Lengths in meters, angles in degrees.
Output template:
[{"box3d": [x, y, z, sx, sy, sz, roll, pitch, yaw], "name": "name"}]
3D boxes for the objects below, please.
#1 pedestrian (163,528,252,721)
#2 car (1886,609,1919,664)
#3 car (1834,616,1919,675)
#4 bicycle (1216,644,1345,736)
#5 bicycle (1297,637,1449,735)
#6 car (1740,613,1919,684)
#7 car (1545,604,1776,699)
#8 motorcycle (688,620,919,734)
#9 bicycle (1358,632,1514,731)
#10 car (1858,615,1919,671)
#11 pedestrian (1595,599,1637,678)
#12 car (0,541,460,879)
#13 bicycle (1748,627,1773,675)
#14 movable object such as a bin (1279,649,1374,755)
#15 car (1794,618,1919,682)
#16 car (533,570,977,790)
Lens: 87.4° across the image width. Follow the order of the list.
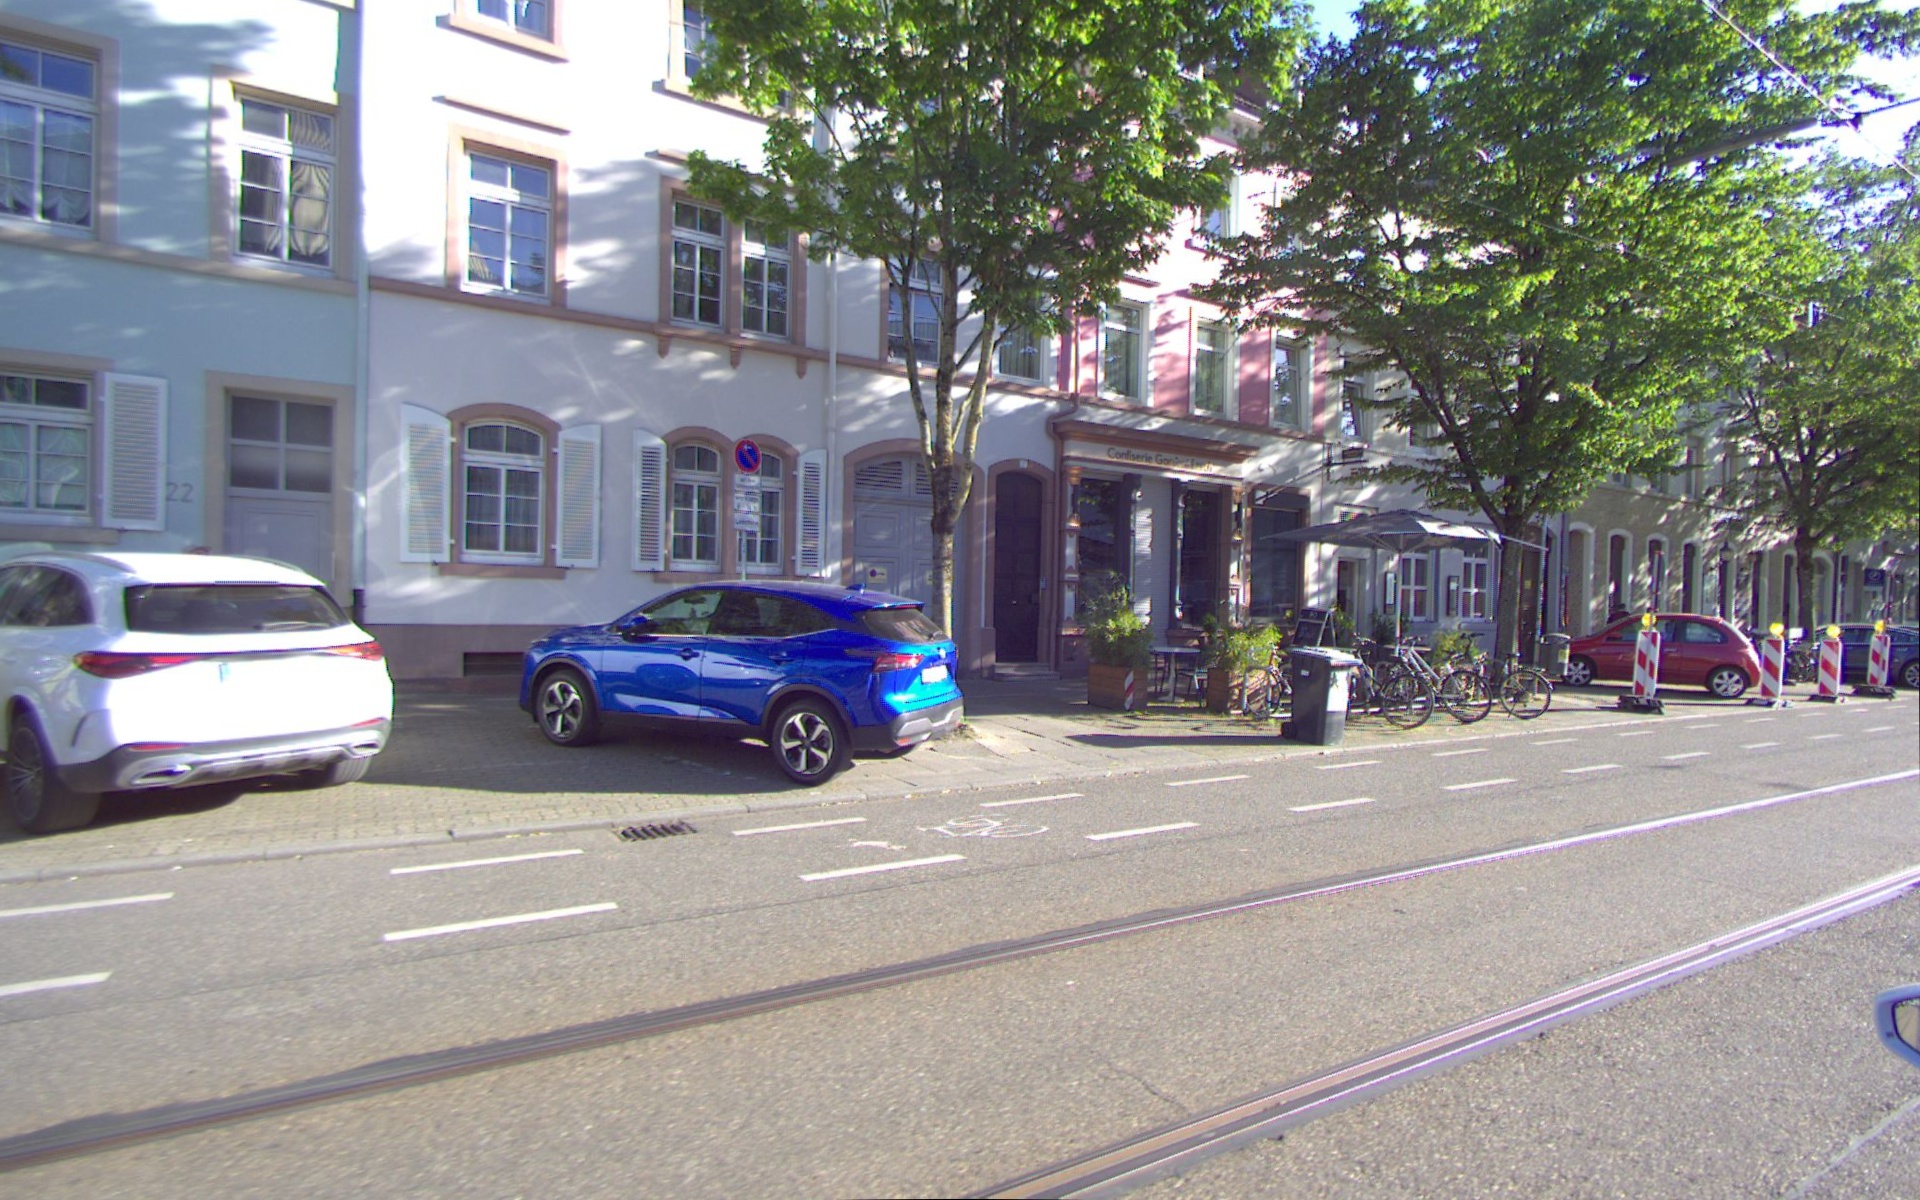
[{"box3d": [-7.569, 0.243, 10.131, 0.617, 1.862, 0.640, 1, -1, -30], "name": "pedestrian"}, {"box3d": [31.788, 1.239, 31.210, 1.822, 1.700, 4.079, 1, 2, -33], "name": "car"}, {"box3d": [26.530, 1.283, 27.743, 3.314, 1.513, 1.609, 3, 2, 31], "name": "car"}, {"box3d": [4.088, 1.122, 12.919, 0.386, 1.001, 1.585, 0, 2, -41], "name": "bicycle"}, {"box3d": [5.570, 1.124, 13.678, 0.561, 1.094, 1.959, 1, 2, -29], "name": "bicycle"}, {"box3d": [22.018, 1.172, 24.793, 4.129, 1.511, 1.939, 3, 1, 32], "name": "car"}, {"box3d": [13.733, 0.945, 19.927, 3.563, 1.574, 1.664, 2, 3, 33], "name": "car"}, {"box3d": [-1.770, 0.870, 11.607, 2.548, 1.270, 0.726, 0, -1, 1], "name": "motorcycle"}, {"box3d": [6.723, 1.110, 14.306, 0.560, 1.102, 1.993, 1, 4, -29], "name": "bicycle"}, {"box3d": [29.017, 1.309, 29.172, 4.046, 1.533, 1.836, 3, 2, 33], "name": "car"}, {"box3d": [17.198, 1.000, 26.333, 0.550, 2.040, 0.727, 1, 0, -30], "name": "pedestrian"}, {"box3d": [-6.263, 0.577, 7.640, 4.855, 1.818, 2.204, 1, 0, 32], "name": "car"}, {"box3d": [19.108, 1.210, 23.975, 0.329, 1.110, 1.584, 0, -1, 44], "name": "bicycle"}, {"box3d": [4.184, 1.138, 11.488, 0.701, 1.092, 0.680, 1, 3, -30], "name": "movable object such as a bin"}, {"box3d": [24.220, 1.308, 26.074, 3.618, 1.490, 1.750, 3, 1, 30], "name": "car"}, {"box3d": [-1.936, 0.639, 9.491, 3.826, 1.630, 1.573, 3, 0, 22], "name": "car"}]
